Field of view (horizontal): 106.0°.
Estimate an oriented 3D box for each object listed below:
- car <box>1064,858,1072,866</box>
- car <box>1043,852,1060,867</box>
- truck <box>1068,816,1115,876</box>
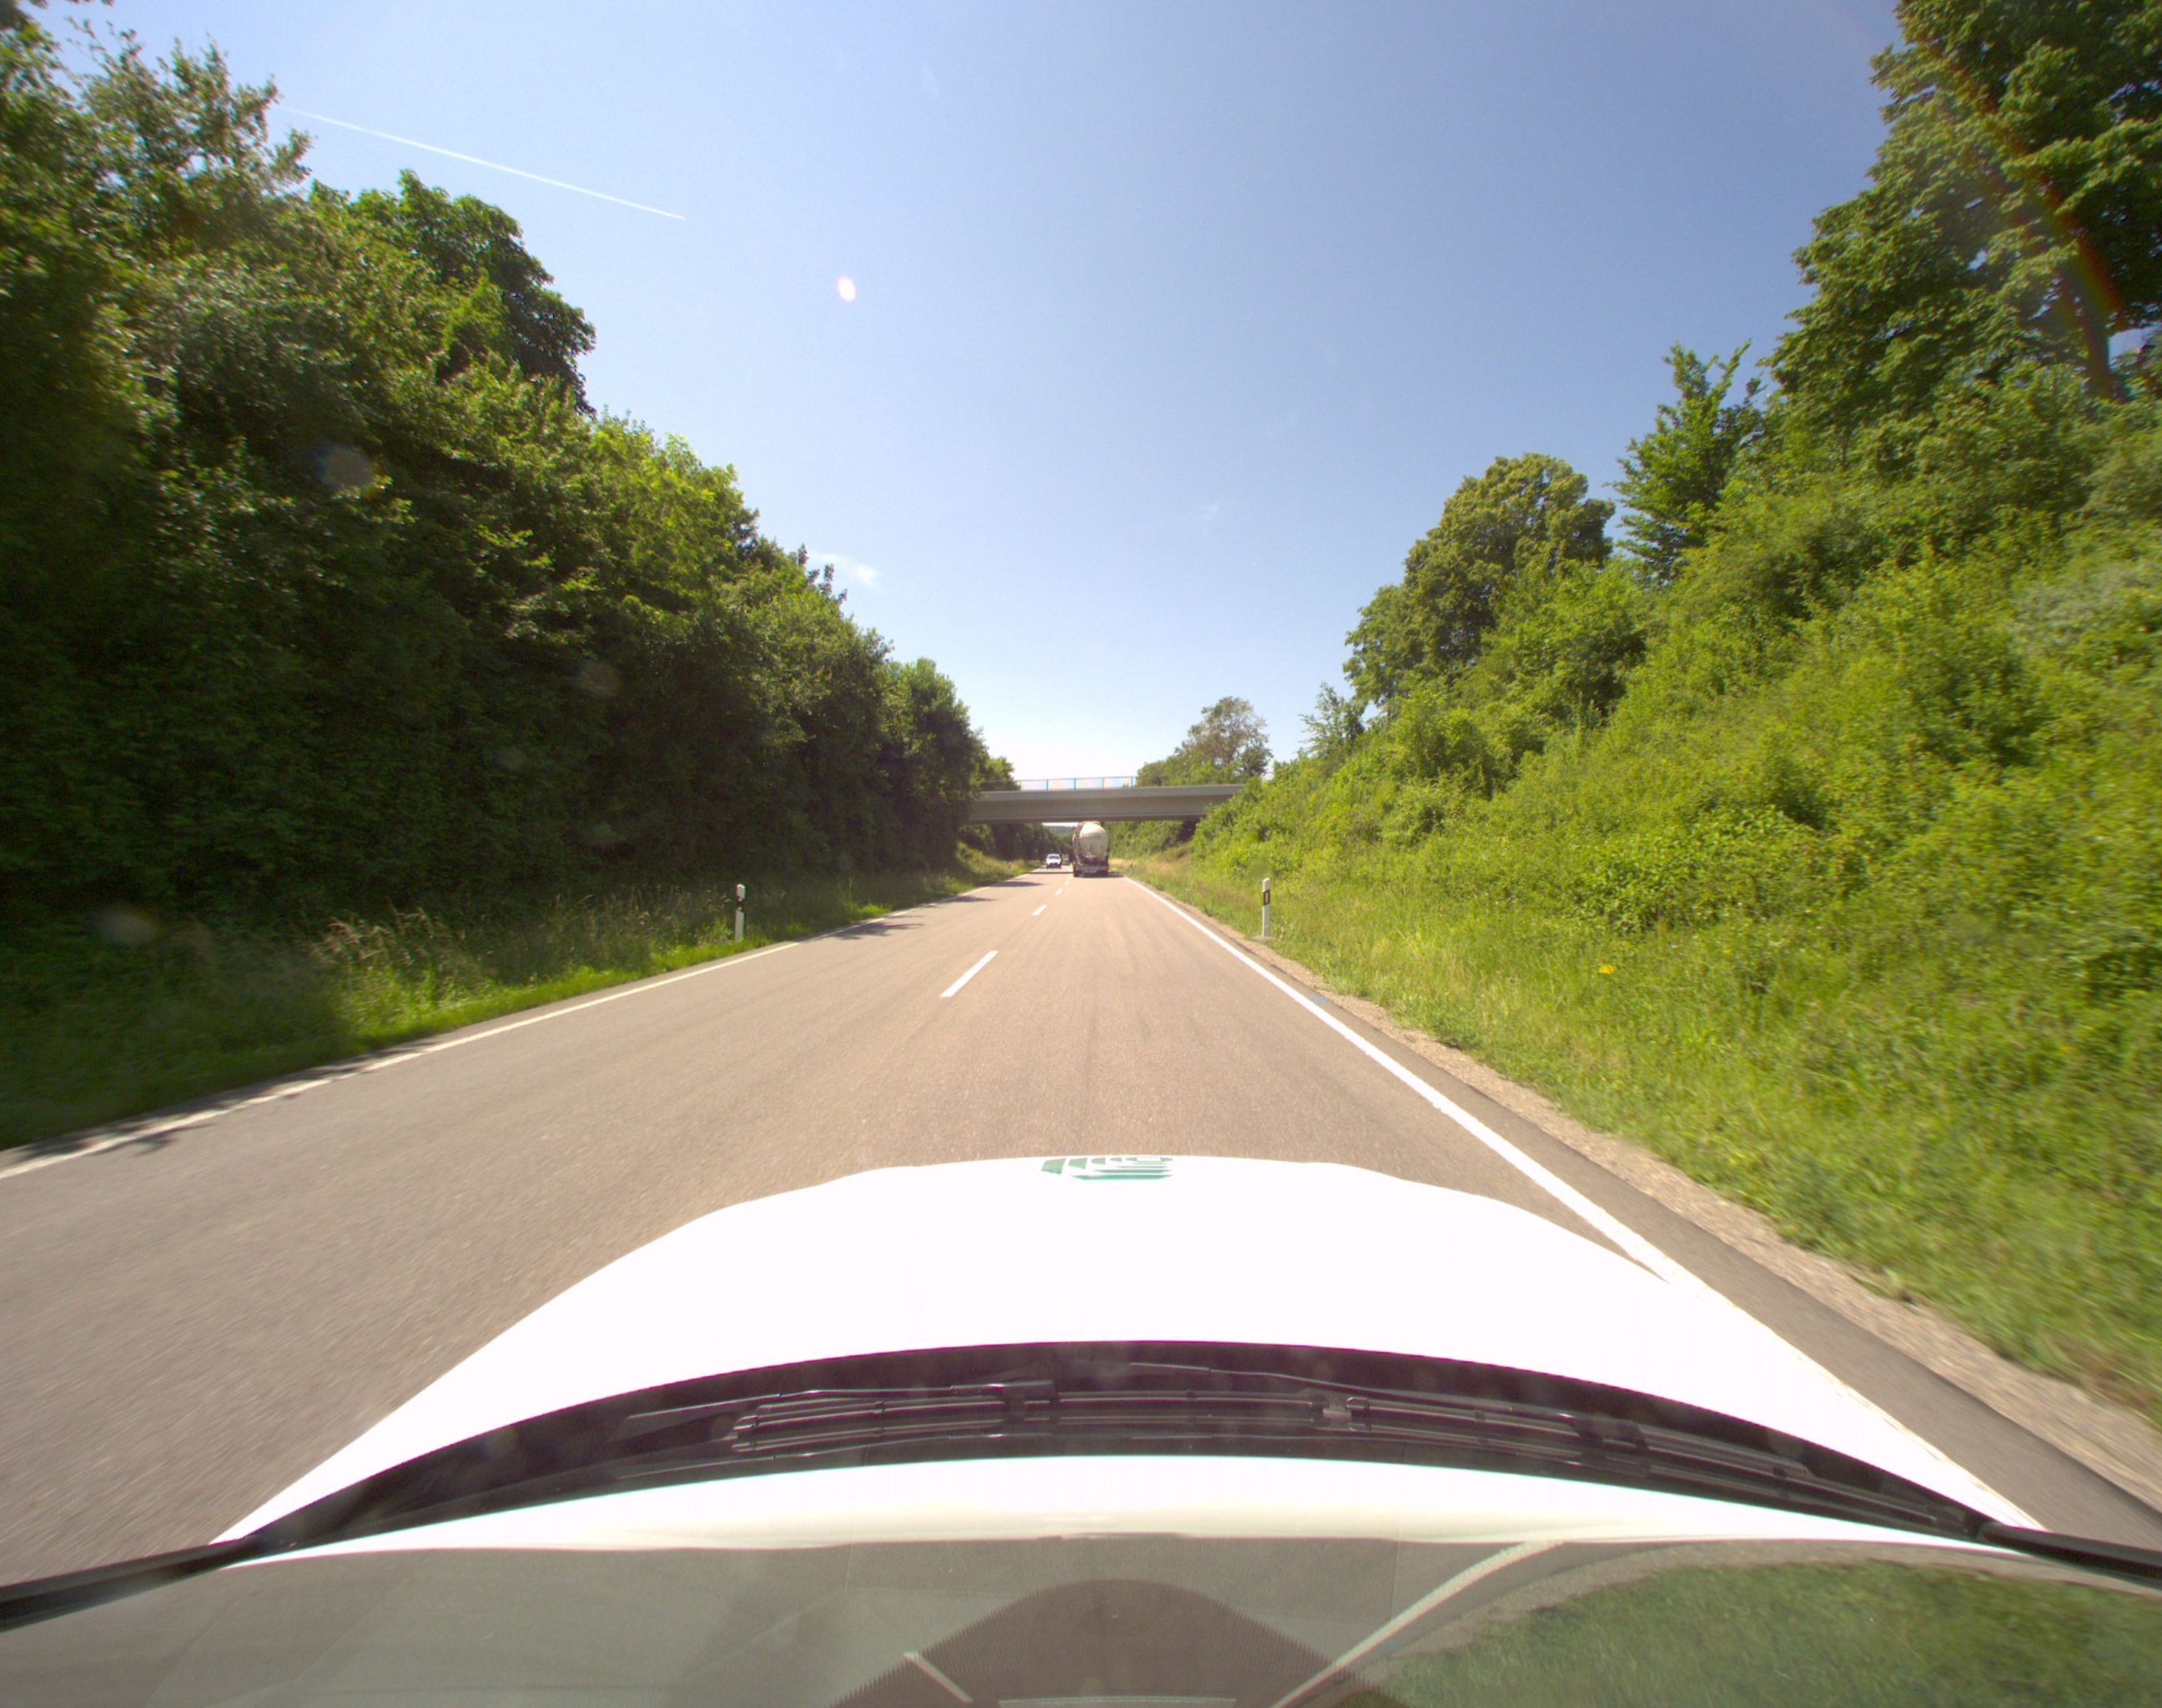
[{"bbox_3d":[-3.419,1.962,209.585,1.989,2.014,3.996,0,0,-2],"label":"car"},{"bbox_3d":[-3.774,0.748,105.474,1.925,1.905,5.327,-1,0,0],"label":"car"},{"bbox_3d":[0.833,-0.378,63.768,3.039,3.998,15.636,2,-1,1],"label":"truck"}]
